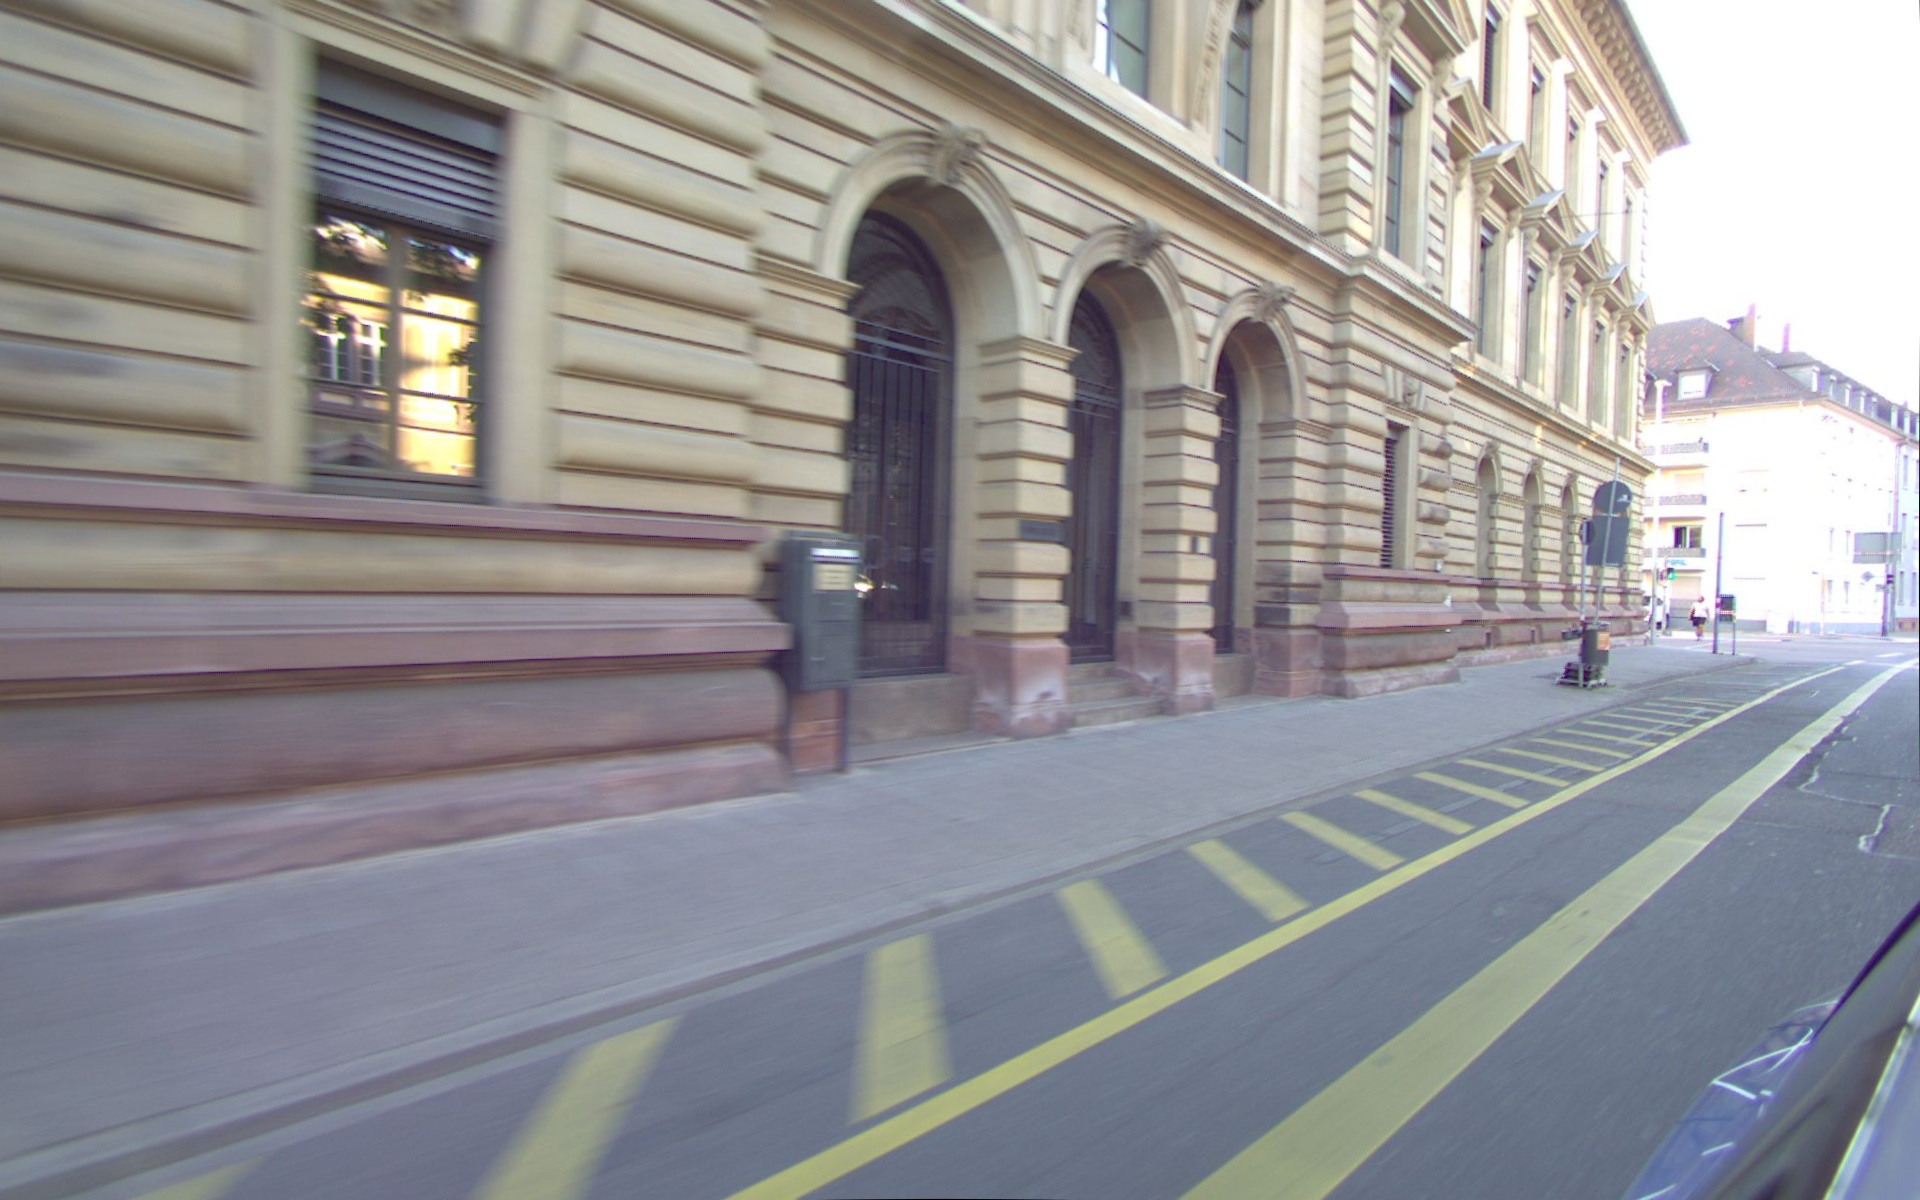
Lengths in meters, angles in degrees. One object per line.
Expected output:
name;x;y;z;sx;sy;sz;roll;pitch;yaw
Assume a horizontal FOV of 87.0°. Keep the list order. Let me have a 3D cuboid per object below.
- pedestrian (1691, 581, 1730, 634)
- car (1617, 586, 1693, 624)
pedestrian;29.271;0.275;39.489;0.973;2.039;0.789;1;0;-21
car;34.762;0.260;50.589;4.395;1.771;1.998;0;1;-40
